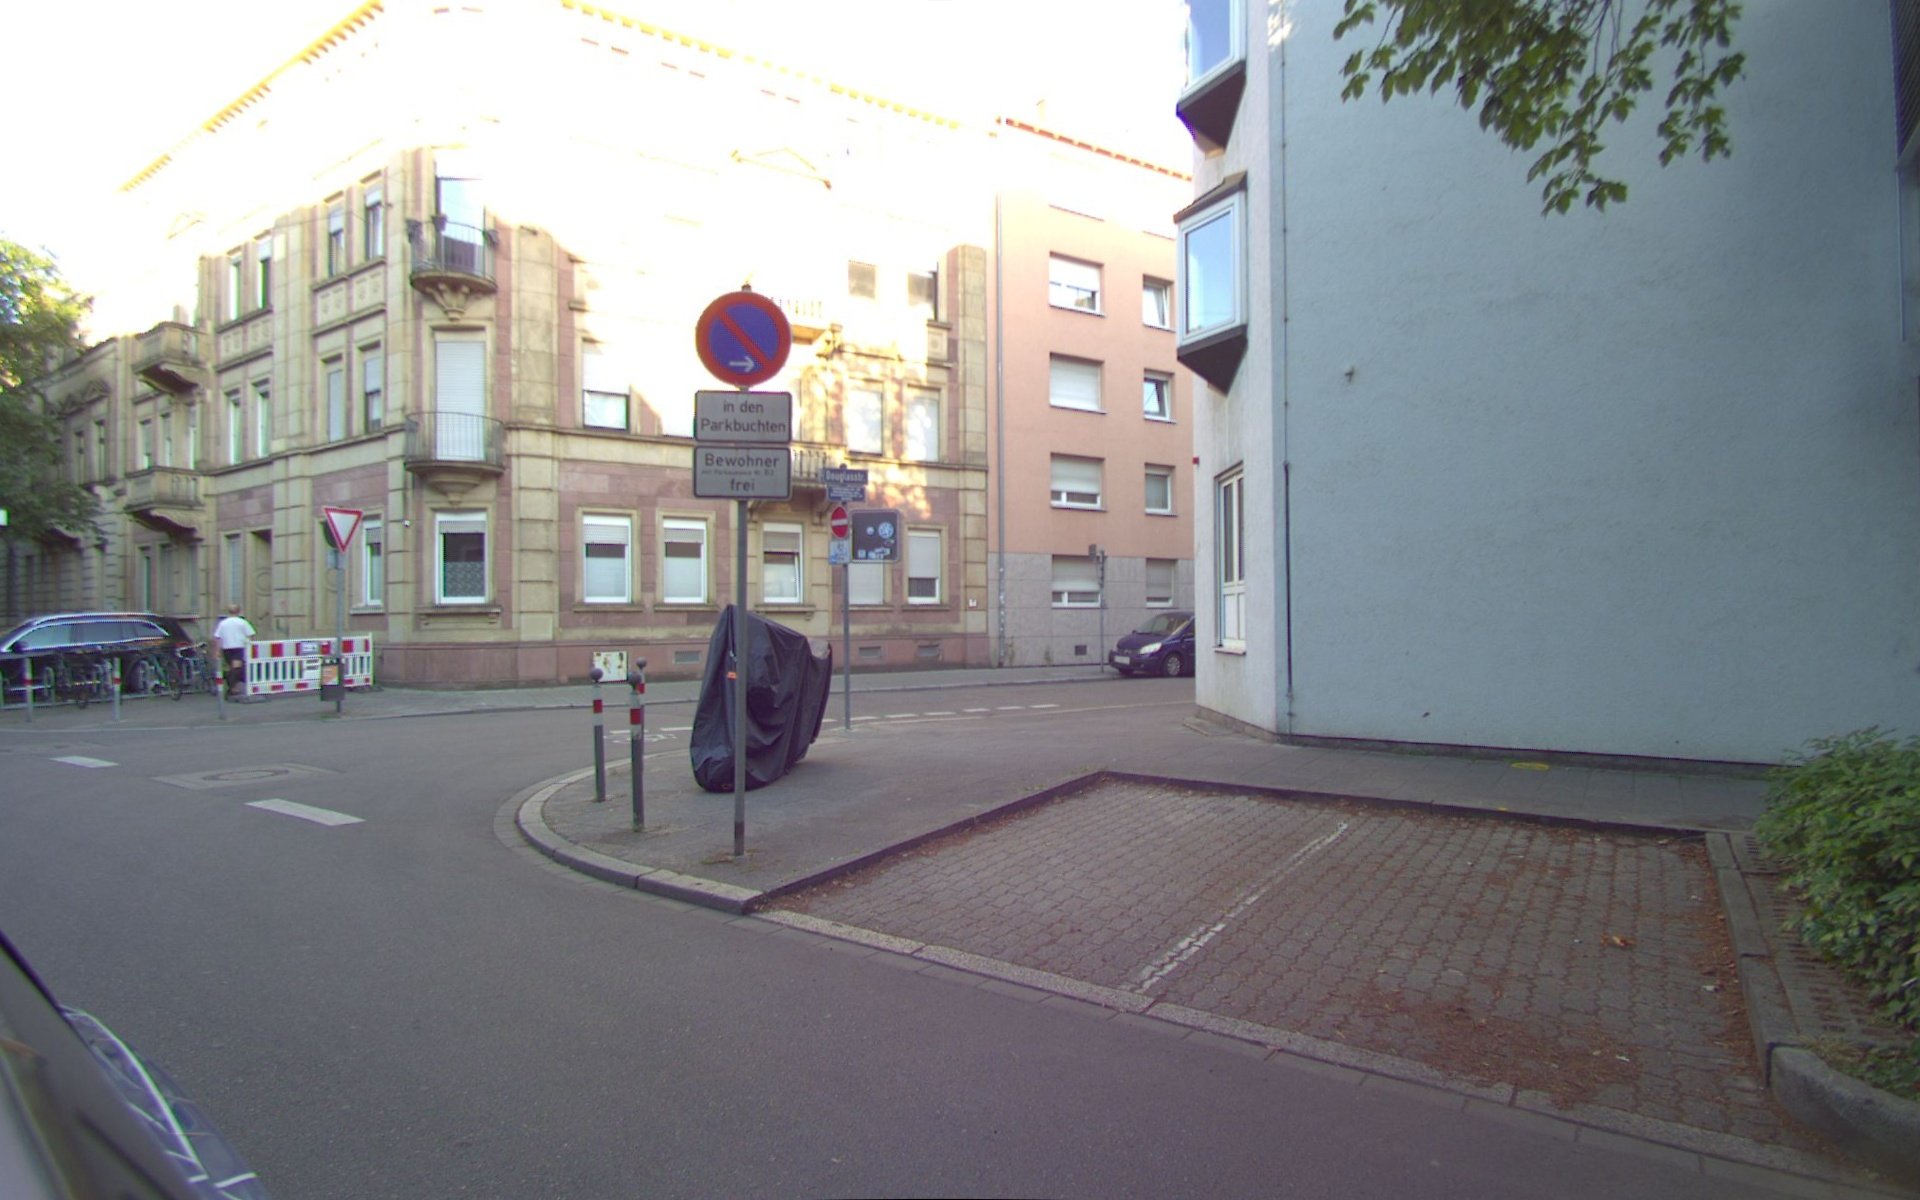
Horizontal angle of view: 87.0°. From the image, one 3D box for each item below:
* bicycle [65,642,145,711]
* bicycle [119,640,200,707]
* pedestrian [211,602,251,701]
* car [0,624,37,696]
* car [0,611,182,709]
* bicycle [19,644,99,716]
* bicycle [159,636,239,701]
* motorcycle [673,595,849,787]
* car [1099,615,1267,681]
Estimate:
[{"bbox_3d":[-15.264,1.333,18.051,2.034,1.159,0.555,-1,-1,34],"label":"bicycle"},{"bbox_3d":[-14.792,1.335,18.679,2.033,1.159,0.556,-1,-1,33],"label":"bicycle"},{"bbox_3d":[-13.699,0.950,19.019,0.564,1.821,0.652,0,-2,-40],"label":"pedestrian"},{"bbox_3d":[-24.297,1.416,23.390,1.740,1.690,4.190,-1,-2,39],"label":"car"},{"bbox_3d":[-17.905,1.122,19.471,1.740,1.795,4.368,-1,-2,38],"label":"car"},{"bbox_3d":[-15.617,1.357,17.521,2.034,1.159,0.555,-1,-1,34],"label":"bicycle"},{"bbox_3d":[-14.438,1.274,19.182,2.033,1.159,0.556,-1,-1,33],"label":"bicycle"},{"bbox_3d":[-1.718,0.744,9.200,0.809,1.516,2.276,-1,-1,10],"label":"motorcycle"},{"bbox_3d":[5.745,1.169,25.850,4.297,1.529,1.789,1,-2,-36],"label":"car"}]
